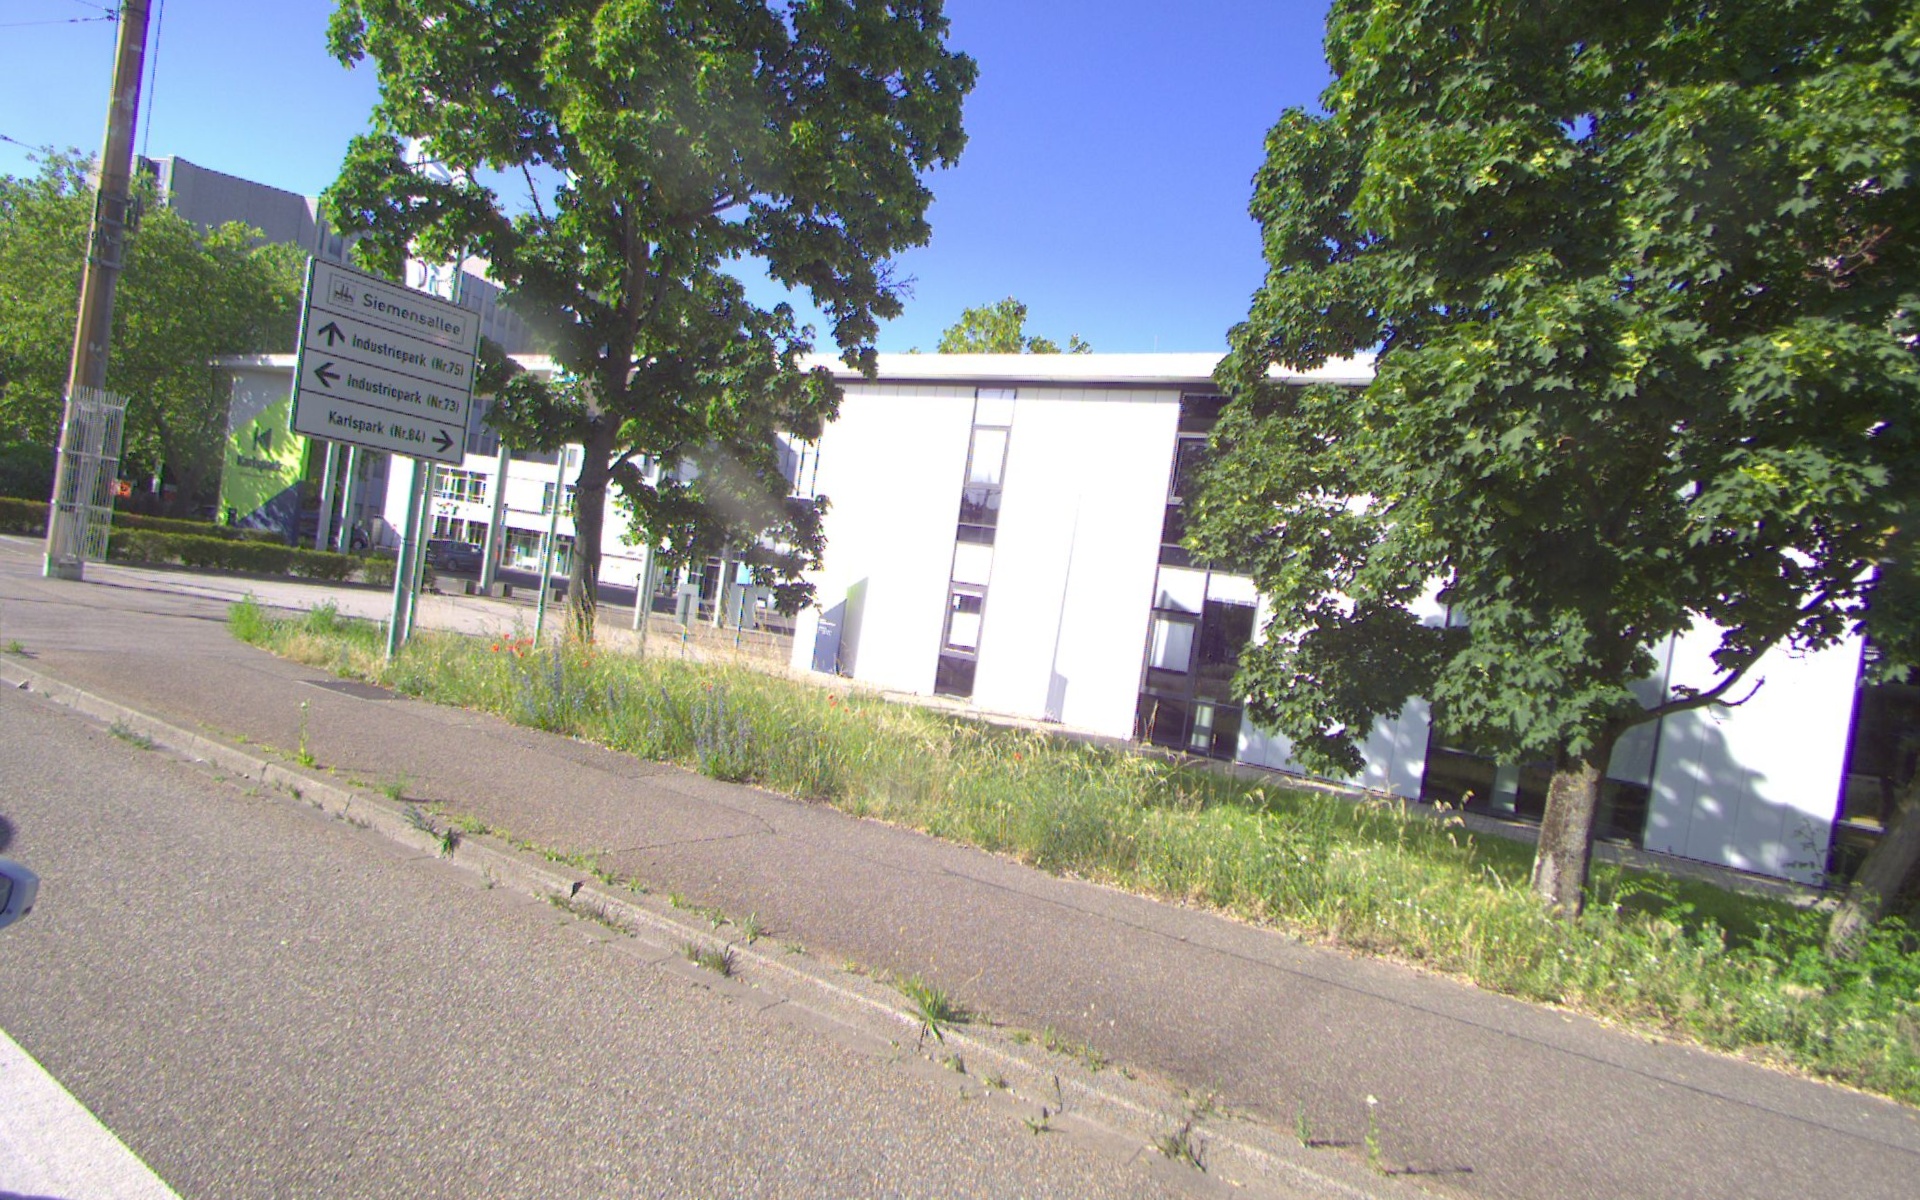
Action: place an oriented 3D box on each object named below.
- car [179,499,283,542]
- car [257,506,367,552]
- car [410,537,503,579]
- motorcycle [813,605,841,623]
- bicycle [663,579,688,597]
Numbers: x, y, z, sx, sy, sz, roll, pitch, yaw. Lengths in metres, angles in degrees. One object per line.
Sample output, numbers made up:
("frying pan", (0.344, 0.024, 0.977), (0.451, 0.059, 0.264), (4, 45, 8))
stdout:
("car", (-42.649, -4.640, 58.956), (1.861, 1.706, 4.468), (8, -1, 26))
("car", (-36.274, -3.954, 56.496), (2.052, 1.778, 4.900), (8, -1, 17))
("car", (-26.672, -2.209, 53.439), (1.918, 1.597, 4.000), (8, -1, 23))
("motorcycle", (-8.969, 0.918, 67.846), (1.701, 0.959, 0.653), (8, 0, 17))
("bicycle", (-20.253, -0.863, 71.657), (1.591, 1.016, 0.566), (8, 0, 17))
